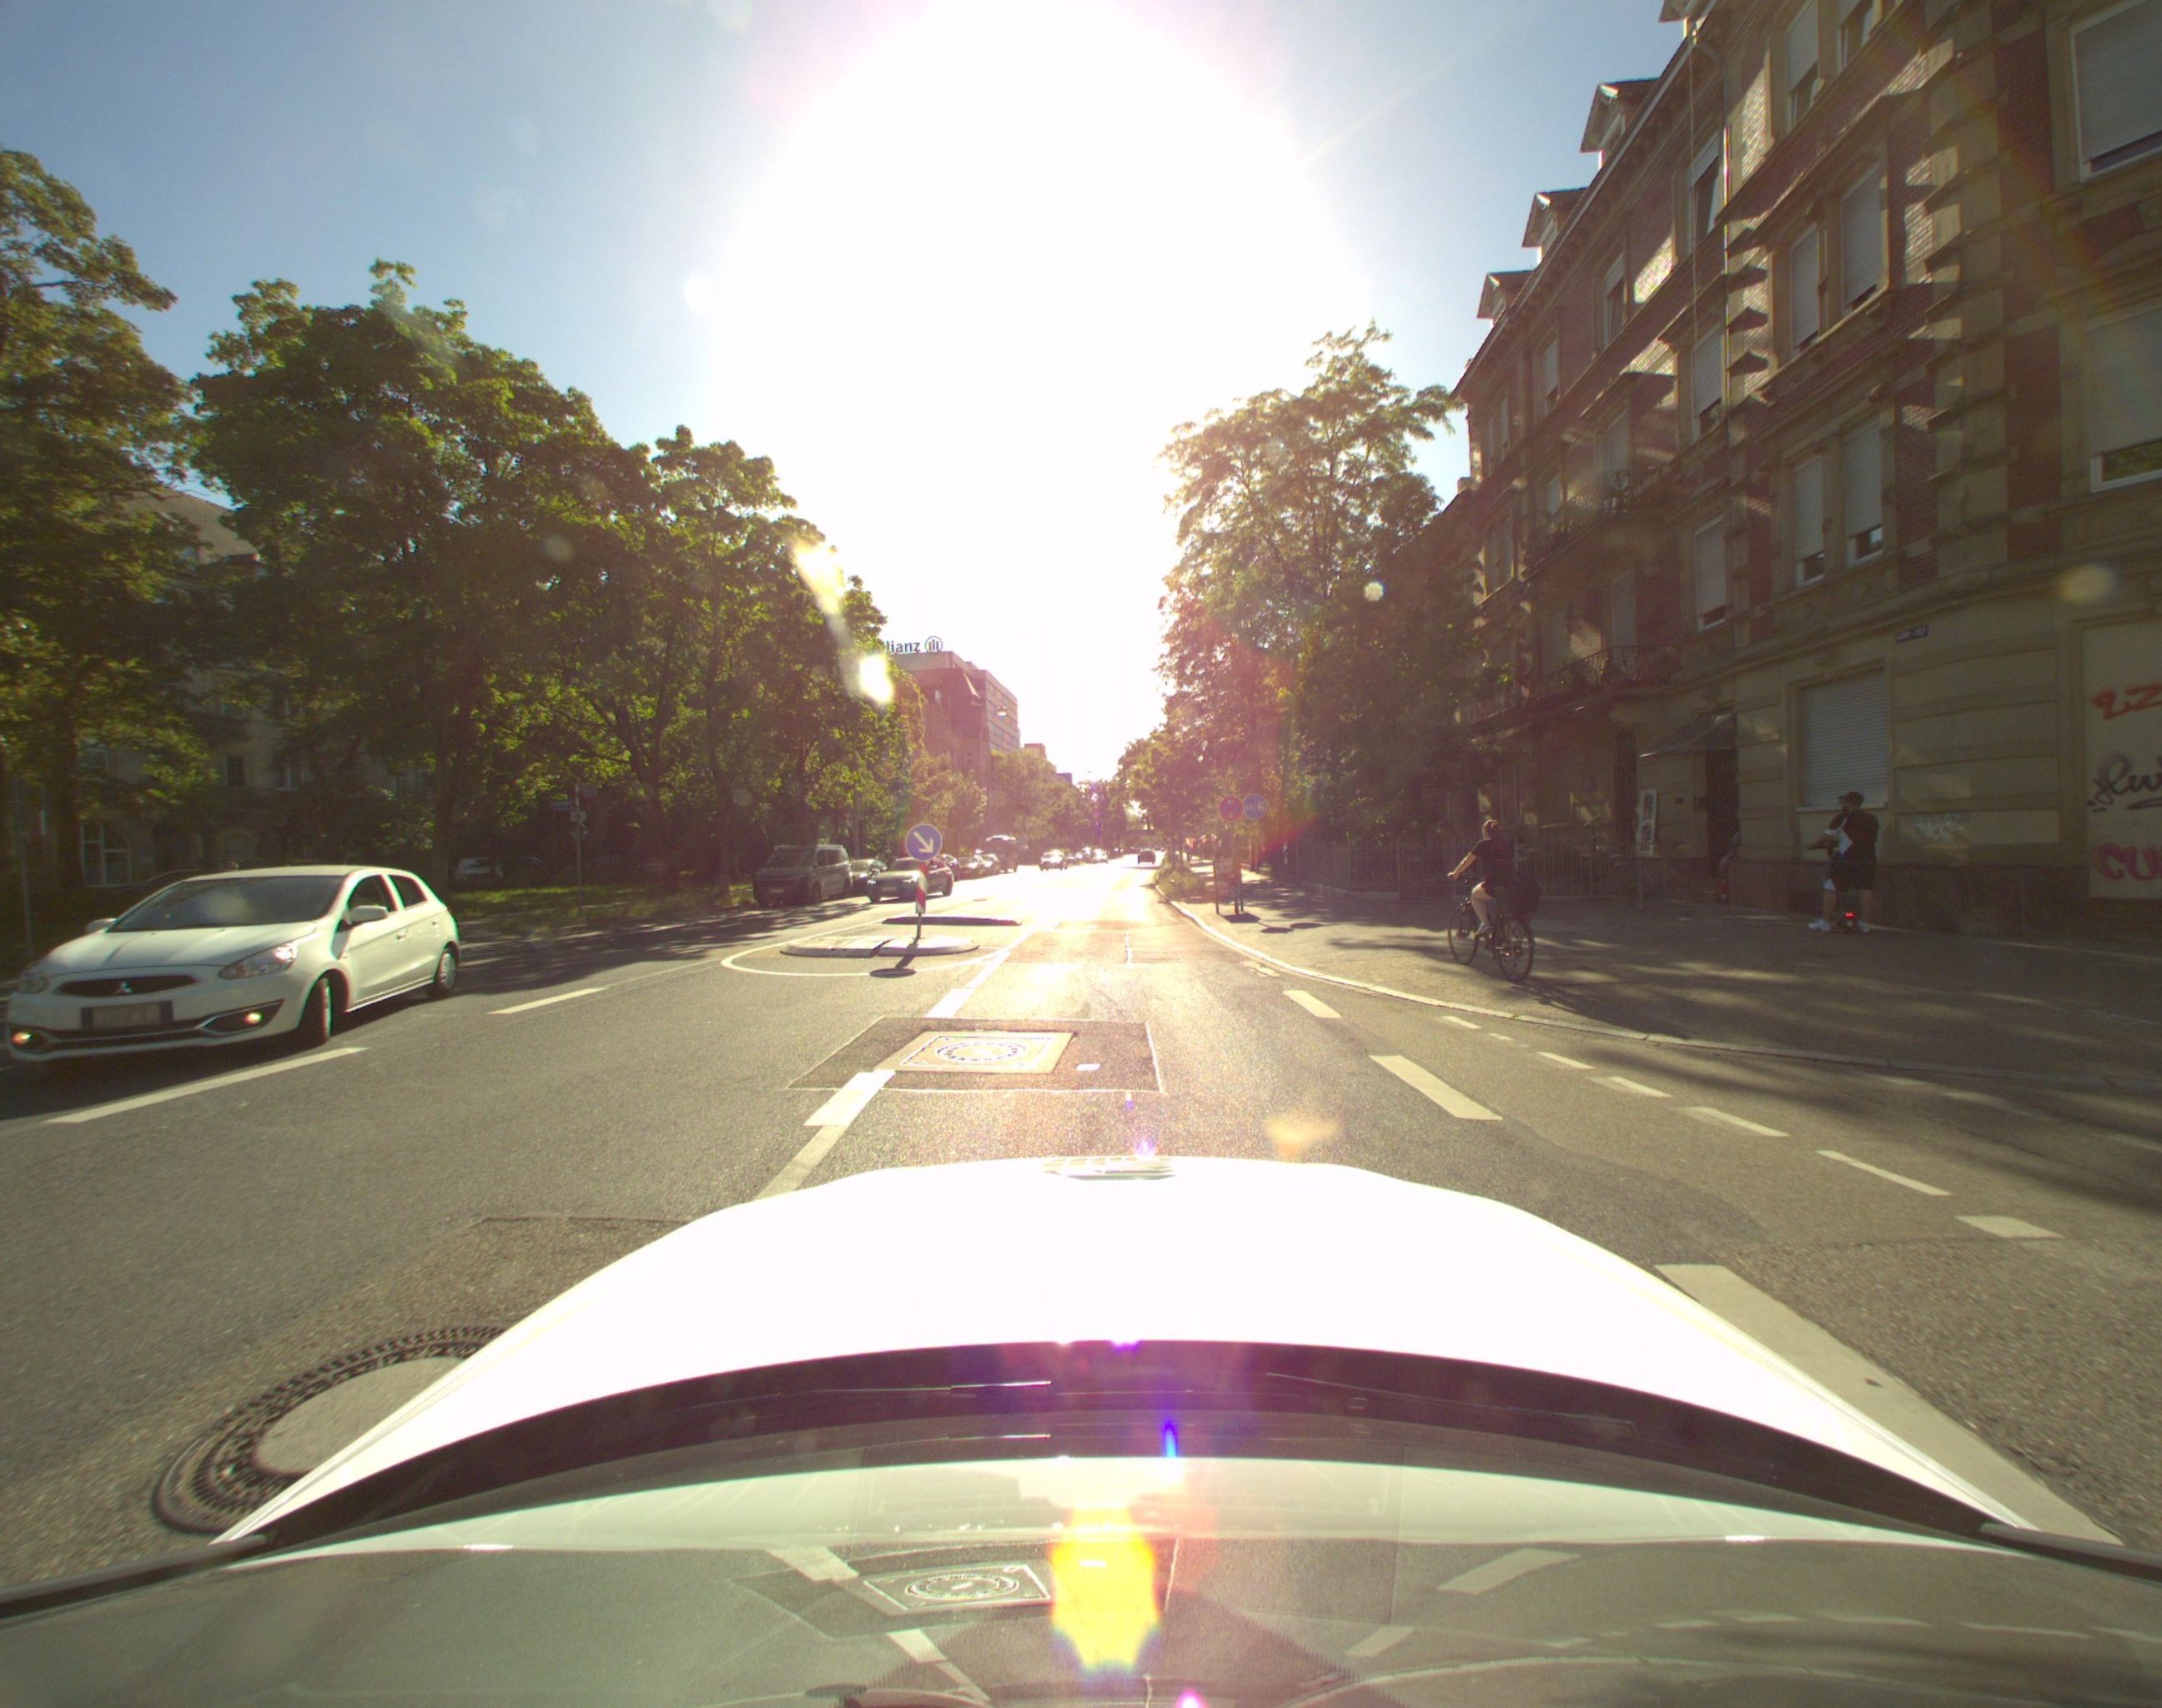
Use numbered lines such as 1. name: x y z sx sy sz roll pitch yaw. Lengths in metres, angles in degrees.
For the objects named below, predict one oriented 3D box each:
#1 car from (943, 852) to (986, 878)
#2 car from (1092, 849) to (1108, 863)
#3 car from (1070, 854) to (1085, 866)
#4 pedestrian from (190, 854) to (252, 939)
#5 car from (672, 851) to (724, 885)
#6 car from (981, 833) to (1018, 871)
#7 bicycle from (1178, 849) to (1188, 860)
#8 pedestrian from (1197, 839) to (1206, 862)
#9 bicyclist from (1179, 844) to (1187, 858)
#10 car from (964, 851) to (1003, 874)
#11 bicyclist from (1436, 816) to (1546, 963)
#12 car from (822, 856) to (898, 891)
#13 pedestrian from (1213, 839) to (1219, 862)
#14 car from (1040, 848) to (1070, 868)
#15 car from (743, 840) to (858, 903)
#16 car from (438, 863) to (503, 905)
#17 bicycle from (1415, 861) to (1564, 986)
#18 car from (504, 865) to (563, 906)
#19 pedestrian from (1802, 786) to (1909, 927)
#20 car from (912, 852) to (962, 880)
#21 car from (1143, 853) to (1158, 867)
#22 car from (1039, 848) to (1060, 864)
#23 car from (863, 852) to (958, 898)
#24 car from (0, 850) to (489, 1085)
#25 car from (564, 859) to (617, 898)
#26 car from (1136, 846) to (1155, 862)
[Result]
1. car: -7.112 0.710 50.077 1.818 1.420 4.004 0 -2 4
2. car: 2.315 0.235 99.016 1.927 1.519 4.031 0 -2 2
3. car: -0.423 0.790 111.755 1.927 1.519 4.031 0 -2 2
4. pedestrian: -17.064 0.815 16.158 0.662 1.626 0.720 -1 0 34
5. car: -19.683 0.678 42.008 1.981 1.662 3.974 -1 0 -19
6. car: -6.084 -0.191 61.346 1.818 2.651 5.168 -1 1 5
7. bicycle: 9.366 0.091 74.818 0.672 0.938 2.282 -1 -1 2
8. pedestrian: 10.910 -0.306 73.753 0.612 2.013 0.681 -1 0 1
9. bicyclist: 9.352 -0.272 74.884 0.678 1.327 0.636 0 -3 1
10. car: -6.555 0.561 55.296 1.818 1.420 4.005 -1 1 4
11. bicyclist: 4.659 0.373 9.335 0.738 1.580 1.101 0 1 2
12. car: -9.038 0.841 33.659 1.705 1.353 4.005 -1 -2 5
13. pedestrian: 12.368 -0.314 74.479 0.474 2.014 0.492 0 -3 1
14. car: -1.988 0.276 63.501 1.629 1.519 4.040 -1 0 8
15. car: -9.748 0.612 28.795 2.191 1.929 4.863 -3 -1 1
16. car: -27.723 1.311 37.090 1.988 1.662 3.960 -2 1 -32
17. bicycle: 4.605 0.727 9.357 0.738 1.219 1.961 -3 0 2
18. car: -25.346 1.416 37.831 1.988 1.662 3.961 -2 1 -30
19. pedestrian: 10.281 0.048 10.842 0.652 1.816 0.752 -1 -3 6
20. car: -7.893 0.632 44.847 1.514 1.432 3.564 -1 0 10
21. car: 8.809 0.757 103.196 1.810 1.740 4.006 -1 0 5
22. car: -3.163 0.163 83.049 1.794 1.504 3.810 -1 0 2
23. car: -5.787 0.682 28.246 1.774 1.460 4.425 -1 -1 8
24. car: -7.303 0.768 7.597 1.764 1.519 3.834 -3 1 -19
25. car: -23.481 1.128 39.128 1.987 1.662 3.963 -2 1 -29
26. car: 6.879 -0.019 87.266 1.887 1.519 4.002 1 1 2
